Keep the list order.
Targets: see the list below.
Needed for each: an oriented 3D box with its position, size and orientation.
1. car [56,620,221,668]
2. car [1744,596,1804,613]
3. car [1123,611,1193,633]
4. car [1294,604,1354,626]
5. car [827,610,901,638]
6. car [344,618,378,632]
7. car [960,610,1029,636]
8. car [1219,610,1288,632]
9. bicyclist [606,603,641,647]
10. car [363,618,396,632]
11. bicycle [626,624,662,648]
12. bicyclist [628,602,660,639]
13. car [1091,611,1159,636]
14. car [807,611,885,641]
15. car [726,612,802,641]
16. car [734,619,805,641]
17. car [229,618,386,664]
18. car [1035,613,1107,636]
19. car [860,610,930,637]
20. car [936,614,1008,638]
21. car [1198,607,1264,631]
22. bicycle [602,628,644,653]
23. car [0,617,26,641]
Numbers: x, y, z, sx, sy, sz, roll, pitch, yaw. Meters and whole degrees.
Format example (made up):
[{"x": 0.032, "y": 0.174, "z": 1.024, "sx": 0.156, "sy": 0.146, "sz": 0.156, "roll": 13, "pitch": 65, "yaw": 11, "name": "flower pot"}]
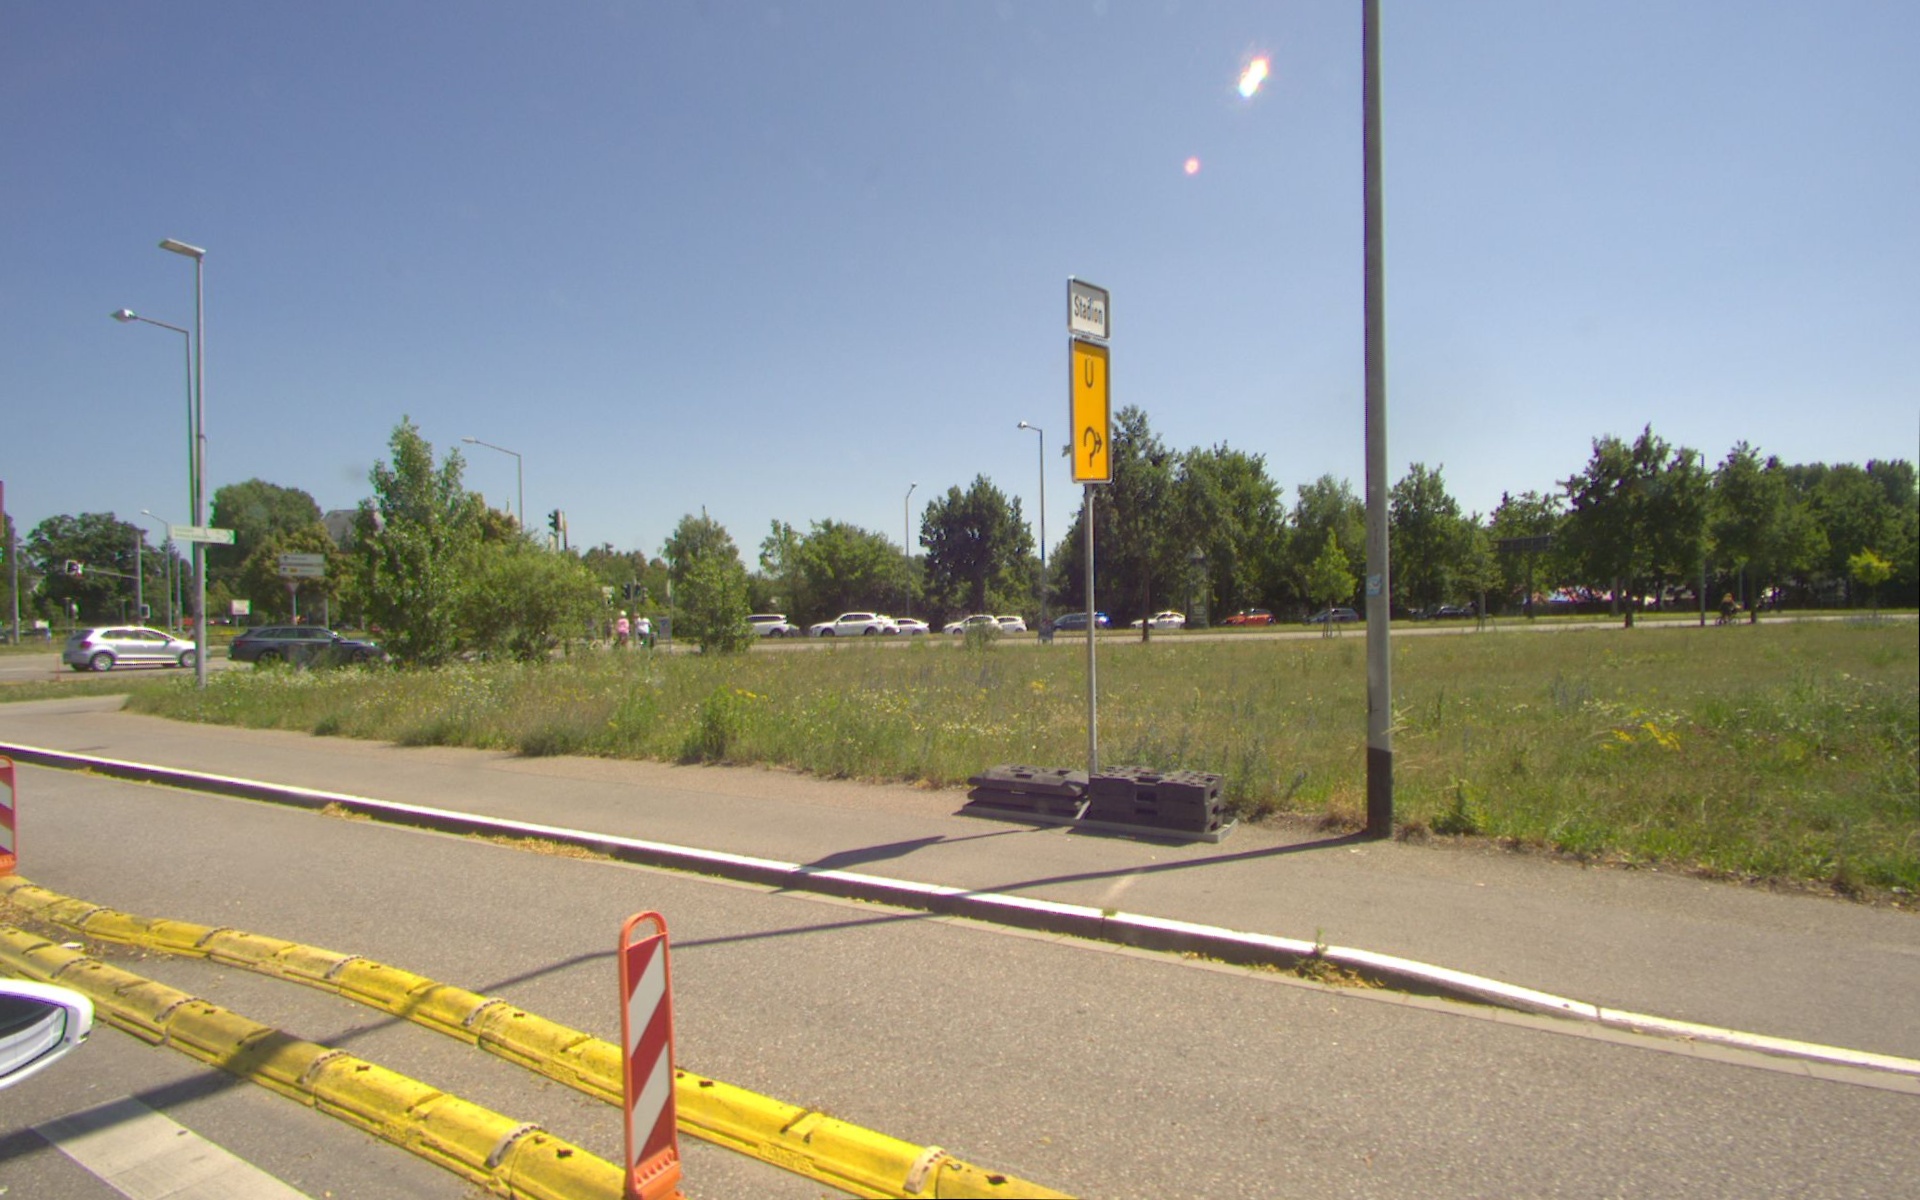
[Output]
[{"x": -27.870, "y": 1.447, "z": 34.091, "sx": 1.755, "sy": 1.441, "sz": 3.982, "roll": -1, "pitch": 0, "yaw": 30, "name": "car"}, {"x": 69.575, "y": 0.383, "z": 85.592, "sx": 4.329, "sy": 1.441, "sz": 1.862, "roll": 0, "pitch": 0, "yaw": -16, "name": "car"}, {"x": 13.497, "y": 1.477, "z": 68.253, "sx": 4.329, "sy": 1.441, "sz": 1.862, "roll": 0, "pitch": 0, "yaw": -16, "name": "car"}, {"x": 26.080, "y": 1.107, "z": 71.783, "sx": 3.730, "sy": 1.493, "sz": 1.718, "roll": 0, "pitch": -2, "yaw": -17, "name": "car"}, {"x": -6.020, "y": 1.492, "z": 62.524, "sx": 4.329, "sy": 1.705, "sz": 1.862, "roll": 0, "pitch": 0, "yaw": -16, "name": "car"}, {"x": -87.986, "y": 3.632, "z": 147.174, "sx": 3.931, "sy": 2.039, "sz": 1.996, "roll": 0, "pitch": -2, "yaw": -19, "name": "car"}, {"x": 2.343, "y": 1.558, "z": 68.023, "sx": 4.329, "sy": 1.705, "sz": 1.862, "roll": 0, "pitch": 0, "yaw": -16, "name": "car"}, {"x": 20.622, "y": 1.461, "z": 70.321, "sx": 4.329, "sy": 1.441, "sz": 1.862, "roll": 0, "pitch": 0, "yaw": -16, "name": "car"}, {"x": -12.790, "y": 0.965, "z": 38.116, "sx": 0.941, "sy": 1.630, "sz": 1.186, "roll": 0, "pitch": -1, "yaw": -2, "name": "bicyclist"}, {"x": -87.380, "y": 3.772, "z": 150.850, "sx": 3.931, "sy": 2.039, "sz": 1.996, "roll": 0, "pitch": -2, "yaw": -19, "name": "car"}, {"x": -13.367, "y": 1.508, "z": 42.438, "sx": 0.881, "sy": 0.912, "sz": 1.762, "roll": 1, "pitch": 1, "yaw": 4, "name": "bicycle"}, {"x": -13.392, "y": 0.863, "z": 42.446, "sx": 0.941, "sy": 1.552, "sz": 1.185, "roll": 0, "pitch": 1, "yaw": 3, "name": "bicyclist"}, {"x": 11.667, "y": 1.617, "z": 70.889, "sx": 4.329, "sy": 1.705, "sz": 1.862, "roll": 0, "pitch": 0, "yaw": -16, "name": "car"}, {"x": -6.733, "y": 1.528, "z": 59.135, "sx": 4.329, "sy": 1.705, "sz": 1.862, "roll": 0, "pitch": 0, "yaw": -16, "name": "car"}, {"x": -11.817, "y": 1.563, "z": 60.233, "sx": 4.329, "sy": 1.639, "sz": 1.862, "roll": 0, "pitch": 0, "yaw": -16, "name": "car"}, {"x": -12.129, "y": 1.910, "z": 63.773, "sx": 4.329, "sy": 1.287, "sz": 1.862, "roll": 0, "pitch": 0, "yaw": -16, "name": "car"}, {"x": -22.672, "y": 1.386, "z": 34.875, "sx": 4.405, "sy": 1.437, "sz": 1.983, "roll": 0, "pitch": 0, "yaw": -40, "name": "car"}, {"x": 7.306, "y": 1.586, "z": 66.001, "sx": 4.329, "sy": 1.441, "sz": 1.862, "roll": 0, "pitch": 0, "yaw": -16, "name": "car"}, {"x": -4.274, "y": 1.548, "z": 65.794, "sx": 4.329, "sy": 1.705, "sz": 1.862, "roll": 0, "pitch": 0, "yaw": -16, "name": "car"}, {"x": 0.758, "y": 1.655, "z": 64.438, "sx": 4.329, "sy": 1.441, "sz": 1.862, "roll": 0, "pitch": 0, "yaw": -16, "name": "car"}, {"x": 19.882, "y": 1.365, "z": 73.381, "sx": 4.329, "sy": 1.705, "sz": 1.862, "roll": 0, "pitch": 0, "yaw": -16, "name": "car"}, {"x": -12.798, "y": 1.524, "z": 38.096, "sx": 0.881, "sy": 0.912, "sz": 2.227, "roll": 1, "pitch": -2, "yaw": -2, "name": "bicycle"}, {"x": -62.159, "y": 1.869, "z": 63.406, "sx": 3.926, "sy": 1.482, "sz": 1.999, "roll": 0, "pitch": -2, "yaw": -12, "name": "car"}]
